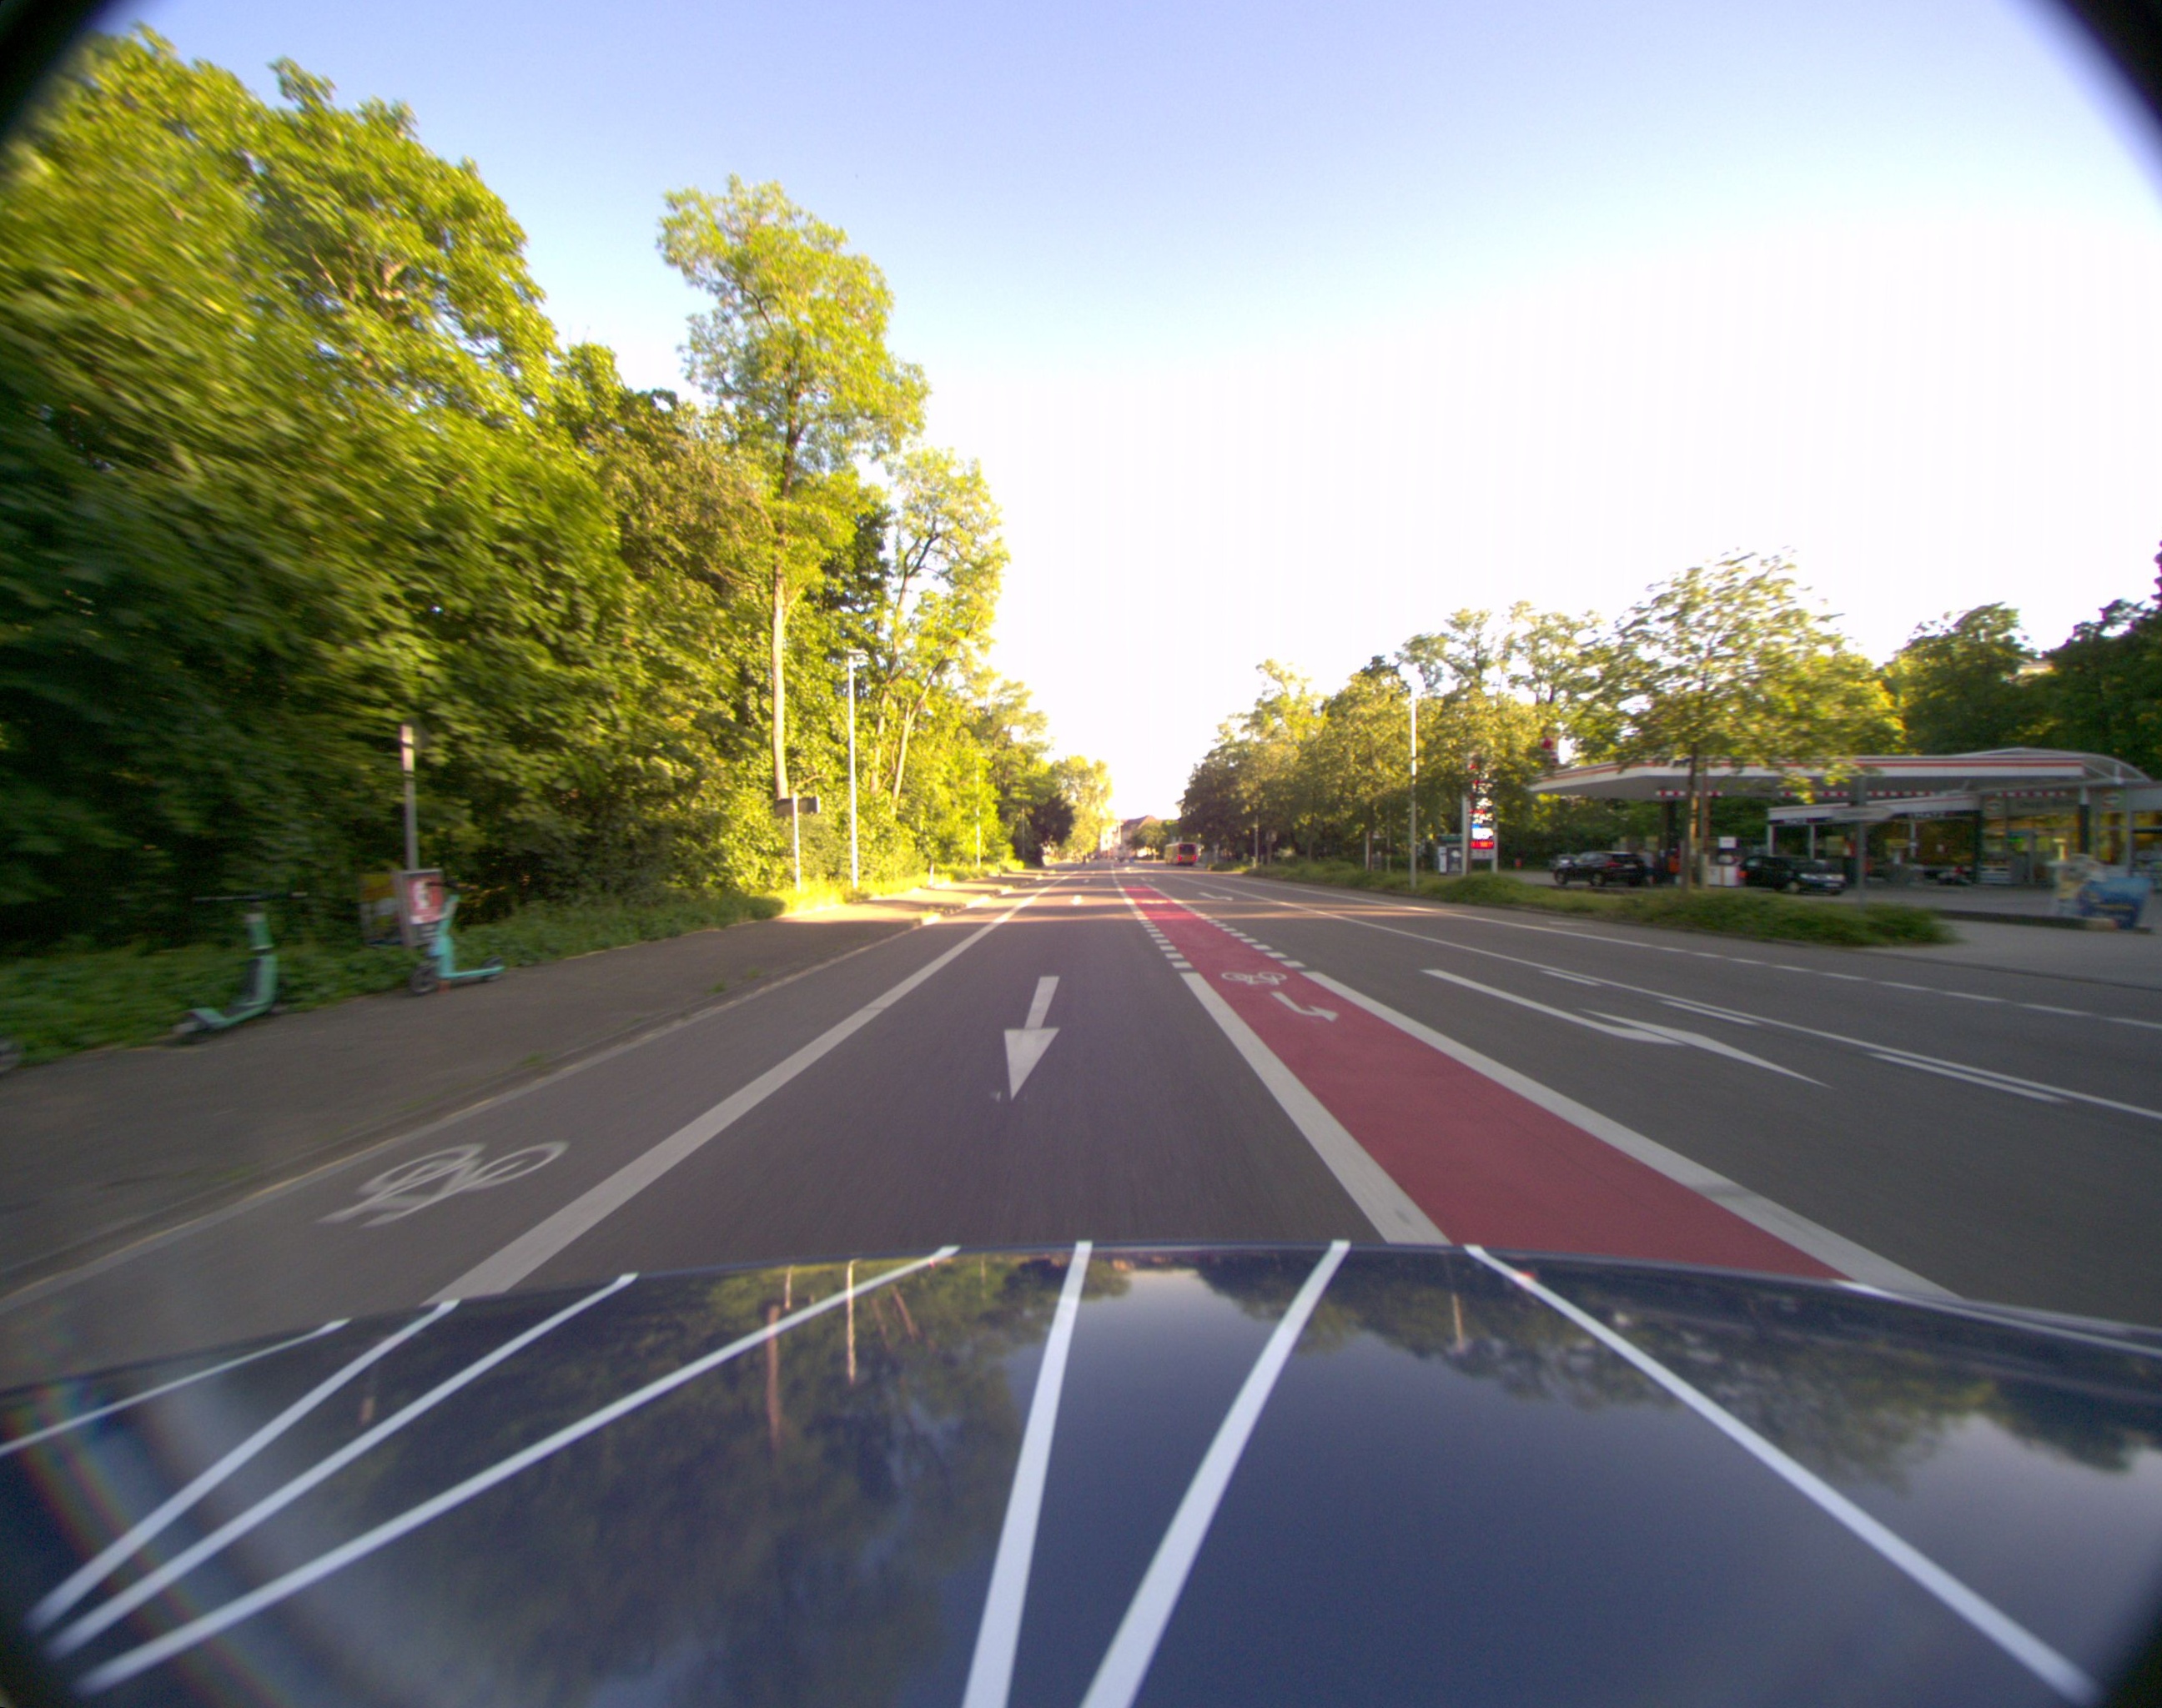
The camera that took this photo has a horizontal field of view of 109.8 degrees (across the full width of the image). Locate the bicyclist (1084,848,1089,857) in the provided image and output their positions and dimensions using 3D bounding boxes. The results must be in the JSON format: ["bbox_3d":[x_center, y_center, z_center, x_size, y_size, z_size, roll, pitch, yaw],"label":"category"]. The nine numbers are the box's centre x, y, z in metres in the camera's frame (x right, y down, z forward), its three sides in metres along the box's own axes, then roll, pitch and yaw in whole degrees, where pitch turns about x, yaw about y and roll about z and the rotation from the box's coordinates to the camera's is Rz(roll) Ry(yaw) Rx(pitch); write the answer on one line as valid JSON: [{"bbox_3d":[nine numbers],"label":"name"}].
[{"bbox_3d":[0.878,-0.254,122.162,0.694,1.482,0.801,0,1,12],"label":"bicyclist"}]

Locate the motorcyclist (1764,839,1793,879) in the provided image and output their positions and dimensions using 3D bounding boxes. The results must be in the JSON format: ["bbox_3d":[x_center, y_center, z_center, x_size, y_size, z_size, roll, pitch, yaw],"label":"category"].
[{"bbox_3d":[38.626,0.262,42.078,1.018,2.169,1.120,-1,1,-45],"label":"motorcyclist"}]

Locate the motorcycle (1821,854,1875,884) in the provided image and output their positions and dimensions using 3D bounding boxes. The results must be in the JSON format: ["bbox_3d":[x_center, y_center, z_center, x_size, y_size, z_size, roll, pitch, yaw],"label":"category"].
[{"bbox_3d":[38.654,0.731,38.337,1.131,1.443,2.751,0,1,28],"label":"motorcycle"}]

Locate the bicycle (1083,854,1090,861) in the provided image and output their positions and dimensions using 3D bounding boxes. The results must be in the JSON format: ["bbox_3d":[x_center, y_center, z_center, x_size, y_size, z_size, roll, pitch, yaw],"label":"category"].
[{"bbox_3d":[0.879,0.590,122.171,0.694,1.089,2.138,0,0,12],"label":"bicycle"}]

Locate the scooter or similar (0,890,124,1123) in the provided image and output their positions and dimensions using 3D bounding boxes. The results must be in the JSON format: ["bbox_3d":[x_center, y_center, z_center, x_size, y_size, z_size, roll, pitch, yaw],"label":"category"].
[{"bbox_3d":[-7.045,0.968,4.567,0.684,1.415,1.679,0,1,-13],"label":"scooter or similar"}]

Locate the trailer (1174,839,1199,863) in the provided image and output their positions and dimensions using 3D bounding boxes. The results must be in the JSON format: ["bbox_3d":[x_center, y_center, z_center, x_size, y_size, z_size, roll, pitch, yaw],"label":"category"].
[{"bbox_3d":[15.548,-0.482,112.406,2.861,3.336,9.363,-2,1,3],"label":"trailer"}]

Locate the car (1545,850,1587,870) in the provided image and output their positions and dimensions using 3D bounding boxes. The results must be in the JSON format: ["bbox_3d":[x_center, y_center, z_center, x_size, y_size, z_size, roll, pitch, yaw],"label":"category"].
[{"bbox_3d":[39.061,0.470,61.323,1.995,1.527,4.027,0,0,20],"label":"car"}]

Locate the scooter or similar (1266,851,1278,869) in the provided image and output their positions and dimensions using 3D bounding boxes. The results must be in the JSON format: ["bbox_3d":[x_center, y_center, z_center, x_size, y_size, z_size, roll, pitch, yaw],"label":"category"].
[{"bbox_3d":[18.425,0.574,73.319,0.829,1.707,1.741,0,1,2],"label":"scooter or similar"}]

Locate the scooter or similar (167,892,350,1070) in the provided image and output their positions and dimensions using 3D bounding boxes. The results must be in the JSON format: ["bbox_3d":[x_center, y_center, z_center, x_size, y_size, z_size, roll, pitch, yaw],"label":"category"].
[{"bbox_3d":[-7.123,1.023,6.667,0.468,1.299,1.478,0,1,-21],"label":"scooter or similar"}]

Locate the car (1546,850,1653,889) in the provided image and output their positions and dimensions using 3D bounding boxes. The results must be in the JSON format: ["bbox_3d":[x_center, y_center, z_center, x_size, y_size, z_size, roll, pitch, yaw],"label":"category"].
[{"bbox_3d":[23.776,0.668,35.042,1.715,1.681,4.452,0,0,-3],"label":"car"}]

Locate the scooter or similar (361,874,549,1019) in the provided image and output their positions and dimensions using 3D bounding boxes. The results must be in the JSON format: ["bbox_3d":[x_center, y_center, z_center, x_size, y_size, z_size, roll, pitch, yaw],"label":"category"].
[{"bbox_3d":[-6.916,0.954,8.517,0.684,1.415,1.681,0,0,1],"label":"scooter or similar"}]

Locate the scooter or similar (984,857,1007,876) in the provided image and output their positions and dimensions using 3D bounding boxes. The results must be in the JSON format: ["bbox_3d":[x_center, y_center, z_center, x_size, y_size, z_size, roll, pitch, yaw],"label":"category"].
[{"bbox_3d":[-5.886,0.854,52.128,1.544,1.243,0.533,-1,1,-42],"label":"scooter or similar"}]

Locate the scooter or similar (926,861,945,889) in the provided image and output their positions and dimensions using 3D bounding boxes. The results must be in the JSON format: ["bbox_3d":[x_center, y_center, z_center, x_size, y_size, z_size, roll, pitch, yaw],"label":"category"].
[{"bbox_3d":[-6.539,0.926,34.284,0.534,1.243,1.541,0,0,1],"label":"scooter or similar"}]

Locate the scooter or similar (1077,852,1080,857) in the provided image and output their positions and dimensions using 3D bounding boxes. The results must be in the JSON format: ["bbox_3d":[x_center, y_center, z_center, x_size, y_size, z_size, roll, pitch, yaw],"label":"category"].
[{"bbox_3d":[-0.734,0.093,210.039,0.794,1.248,1.836,4,0,1],"label":"scooter or similar"}]

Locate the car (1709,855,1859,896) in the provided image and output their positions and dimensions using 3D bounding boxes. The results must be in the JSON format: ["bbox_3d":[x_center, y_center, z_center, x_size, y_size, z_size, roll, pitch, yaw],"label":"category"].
[{"bbox_3d":[27.838,0.808,30.330,1.715,1.489,4.577,0,0,0],"label":"car"}]
